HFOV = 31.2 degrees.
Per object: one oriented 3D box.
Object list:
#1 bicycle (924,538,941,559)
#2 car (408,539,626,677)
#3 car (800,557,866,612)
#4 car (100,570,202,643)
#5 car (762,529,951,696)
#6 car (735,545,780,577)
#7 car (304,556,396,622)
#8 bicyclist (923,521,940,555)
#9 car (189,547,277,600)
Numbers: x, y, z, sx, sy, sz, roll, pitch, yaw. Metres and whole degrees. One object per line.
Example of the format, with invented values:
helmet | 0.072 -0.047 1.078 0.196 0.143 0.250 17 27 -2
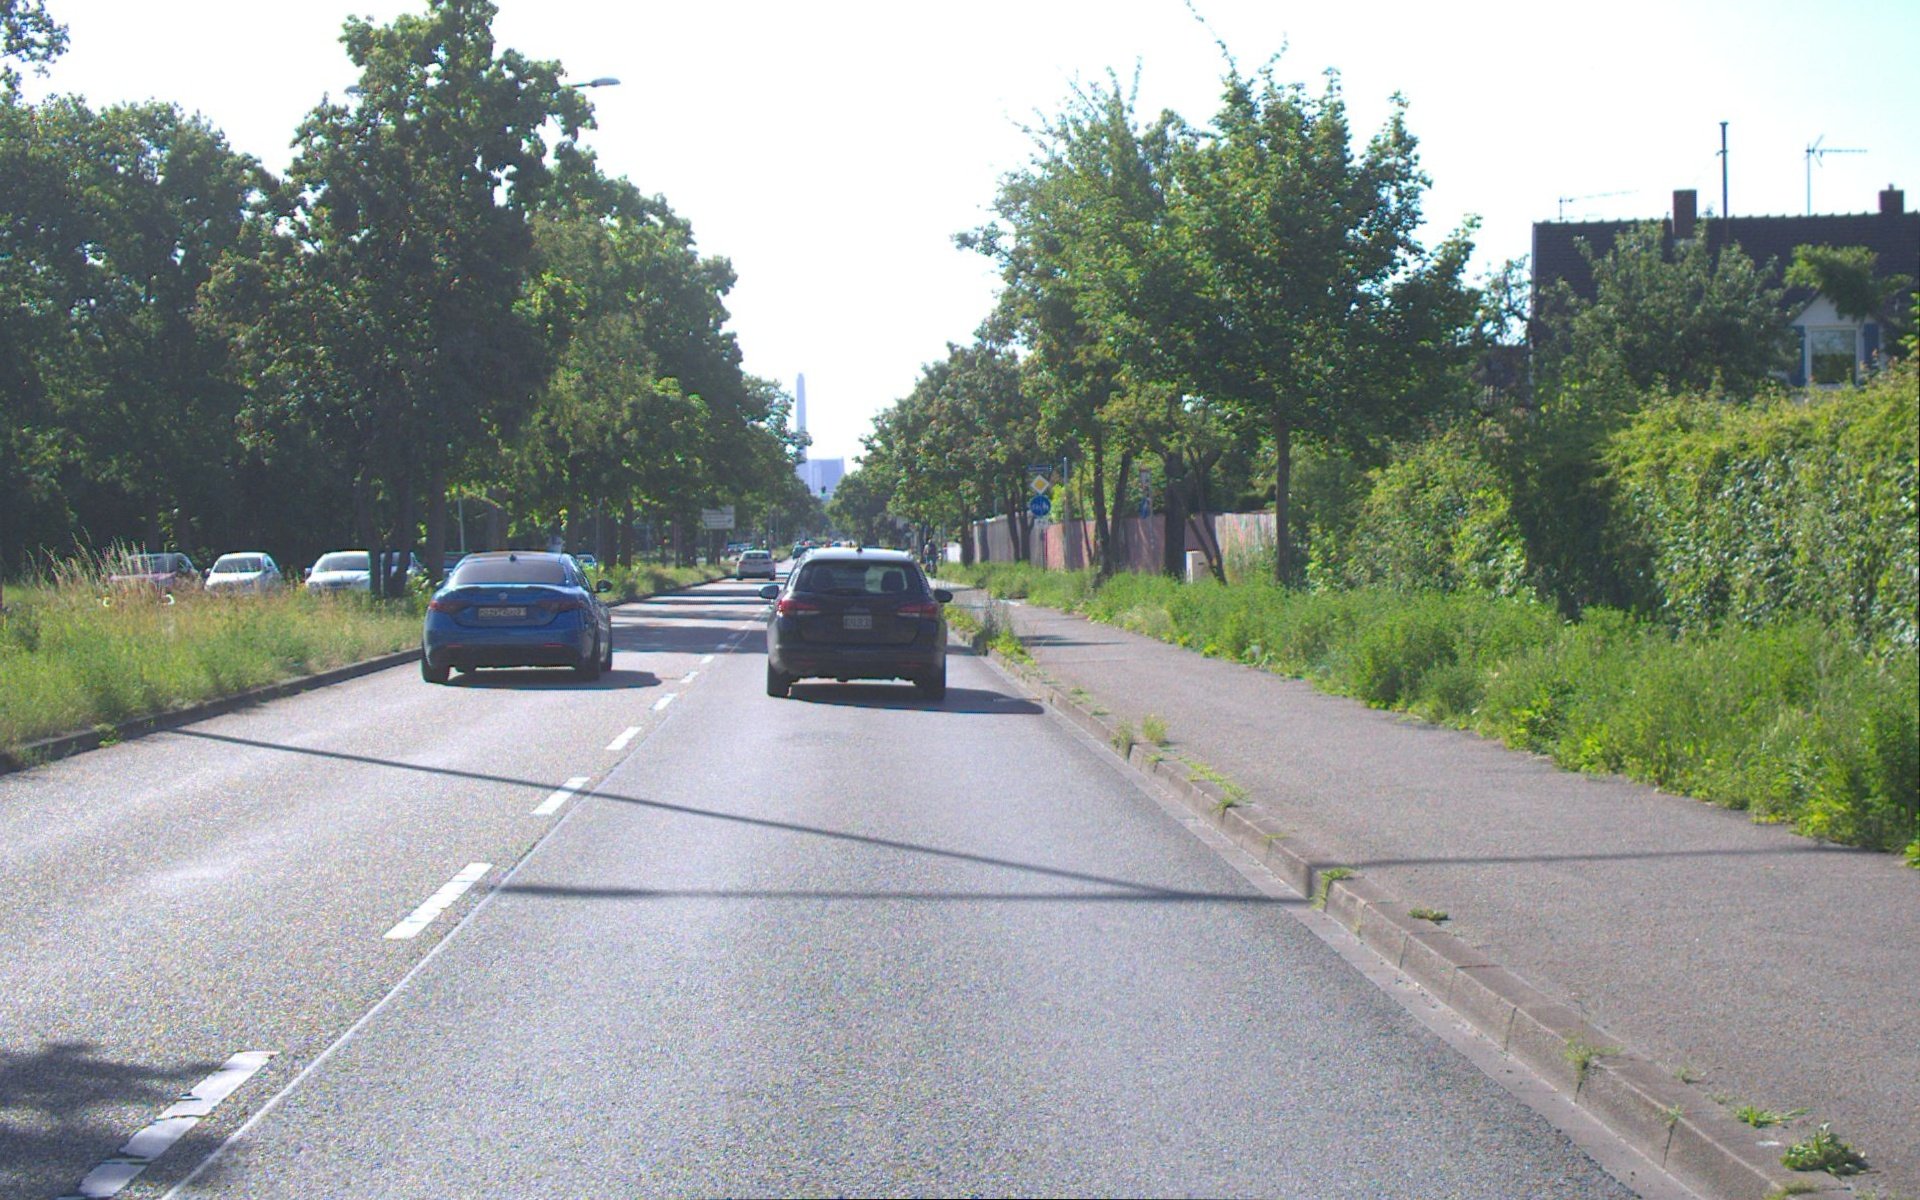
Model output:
bicycle | -1.161 -2.148 143.016 0.655 0.889 1.875 0 1 -2
car | -4.880 0.054 38.358 1.994 1.400 4.001 -1 1 -2
car | -3.979 -0.510 106.915 1.743 1.592 4.176 0 2 -7
car | -19.104 0.126 81.305 1.604 1.557 4.001 -3 2 -3
car | -1.024 0.090 34.748 1.760 1.554 4.000 1 1 -1
car | -9.715 -1.888 165.037 1.978 1.435 4.001 0 2 -6
car | -15.577 -0.302 87.931 1.713 1.597 4.359 0 1 -2
bicyclist | -1.207 -2.576 143.153 0.680 1.414 0.812 0 1 -2
car | -20.359 -0.761 96.391 1.838 1.408 4.001 0 1 -4
